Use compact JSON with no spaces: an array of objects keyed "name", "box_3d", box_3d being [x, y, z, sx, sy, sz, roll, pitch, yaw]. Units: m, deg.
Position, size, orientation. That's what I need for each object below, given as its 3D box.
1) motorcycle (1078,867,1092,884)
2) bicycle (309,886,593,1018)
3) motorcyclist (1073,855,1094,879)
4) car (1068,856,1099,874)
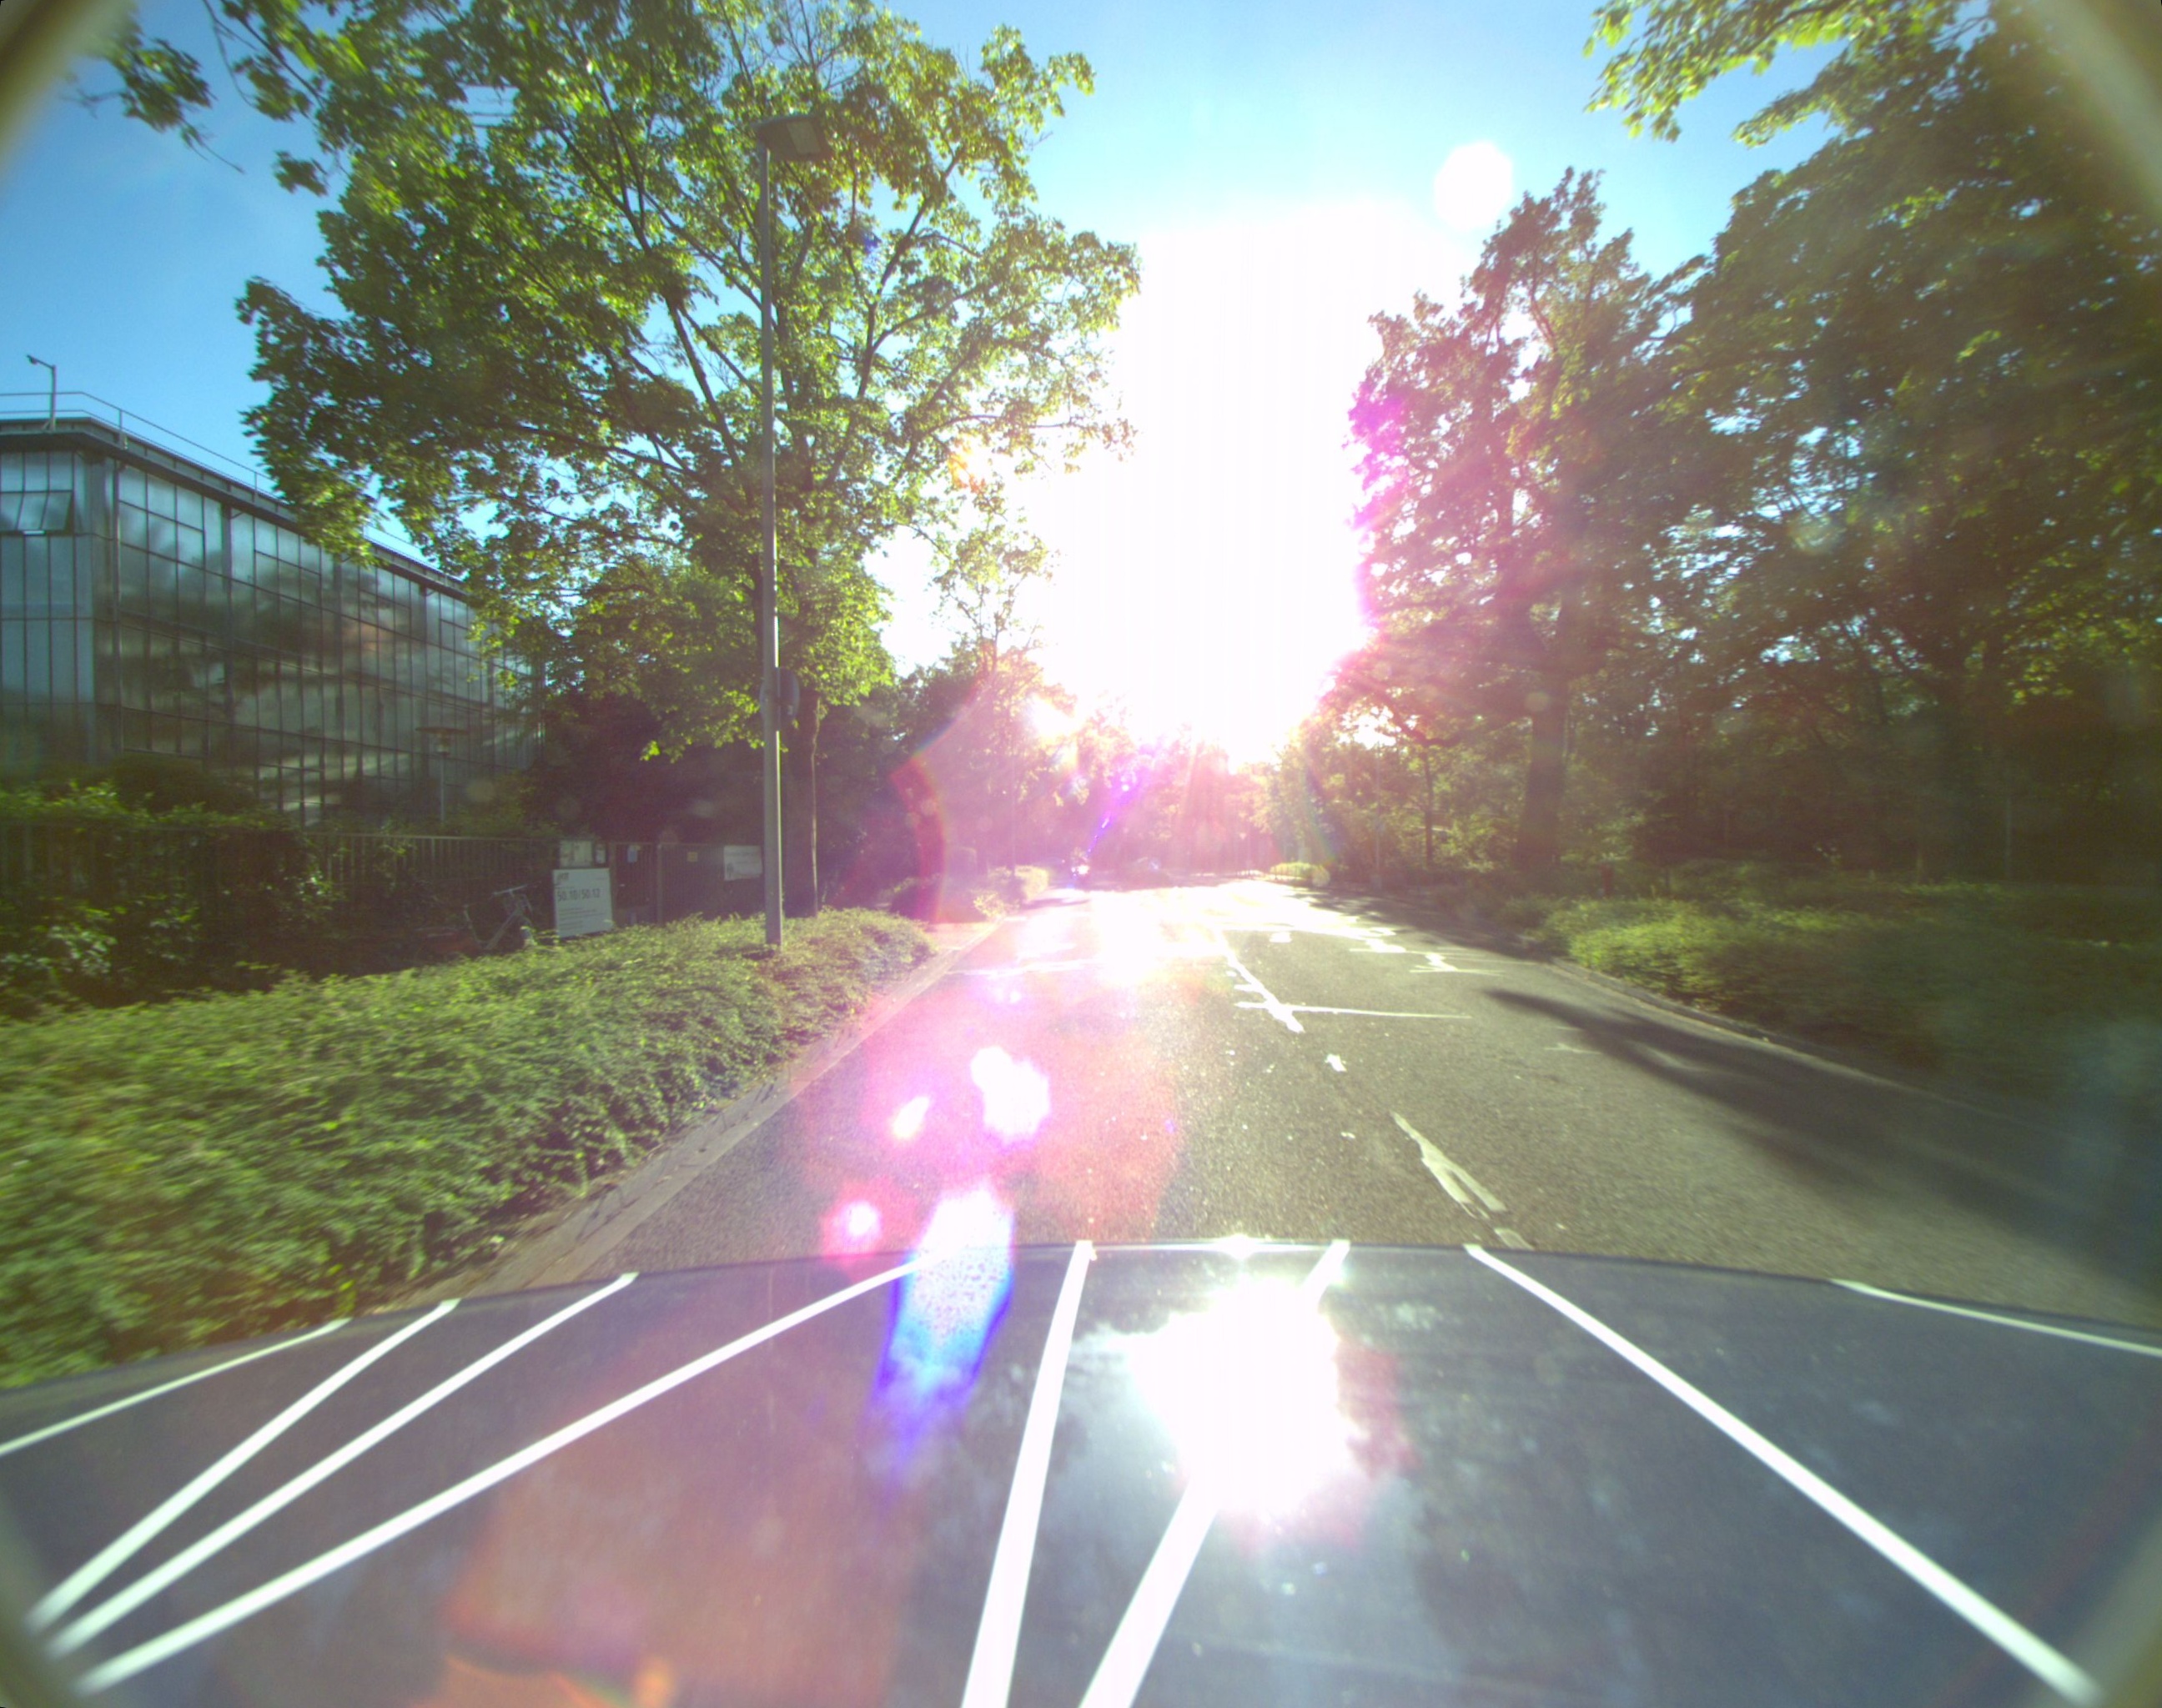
[{"name":"motorcycle","box_3d":[0.226,1.261,45.832,0.807,0.907,2.712,-2,0,0]},{"name":"bicycle","box_3d":[-7.036,1.010,8.684,0.884,1.193,2.330,1,0,25]},{"name":"motorcyclist","box_3d":[0.153,0.771,45.599,1.138,1.419,1.566,-2,0,1]},{"name":"car","box_3d":[0.174,0.927,62.779,2.000,1.365,4.171,-2,0,-6]}]
